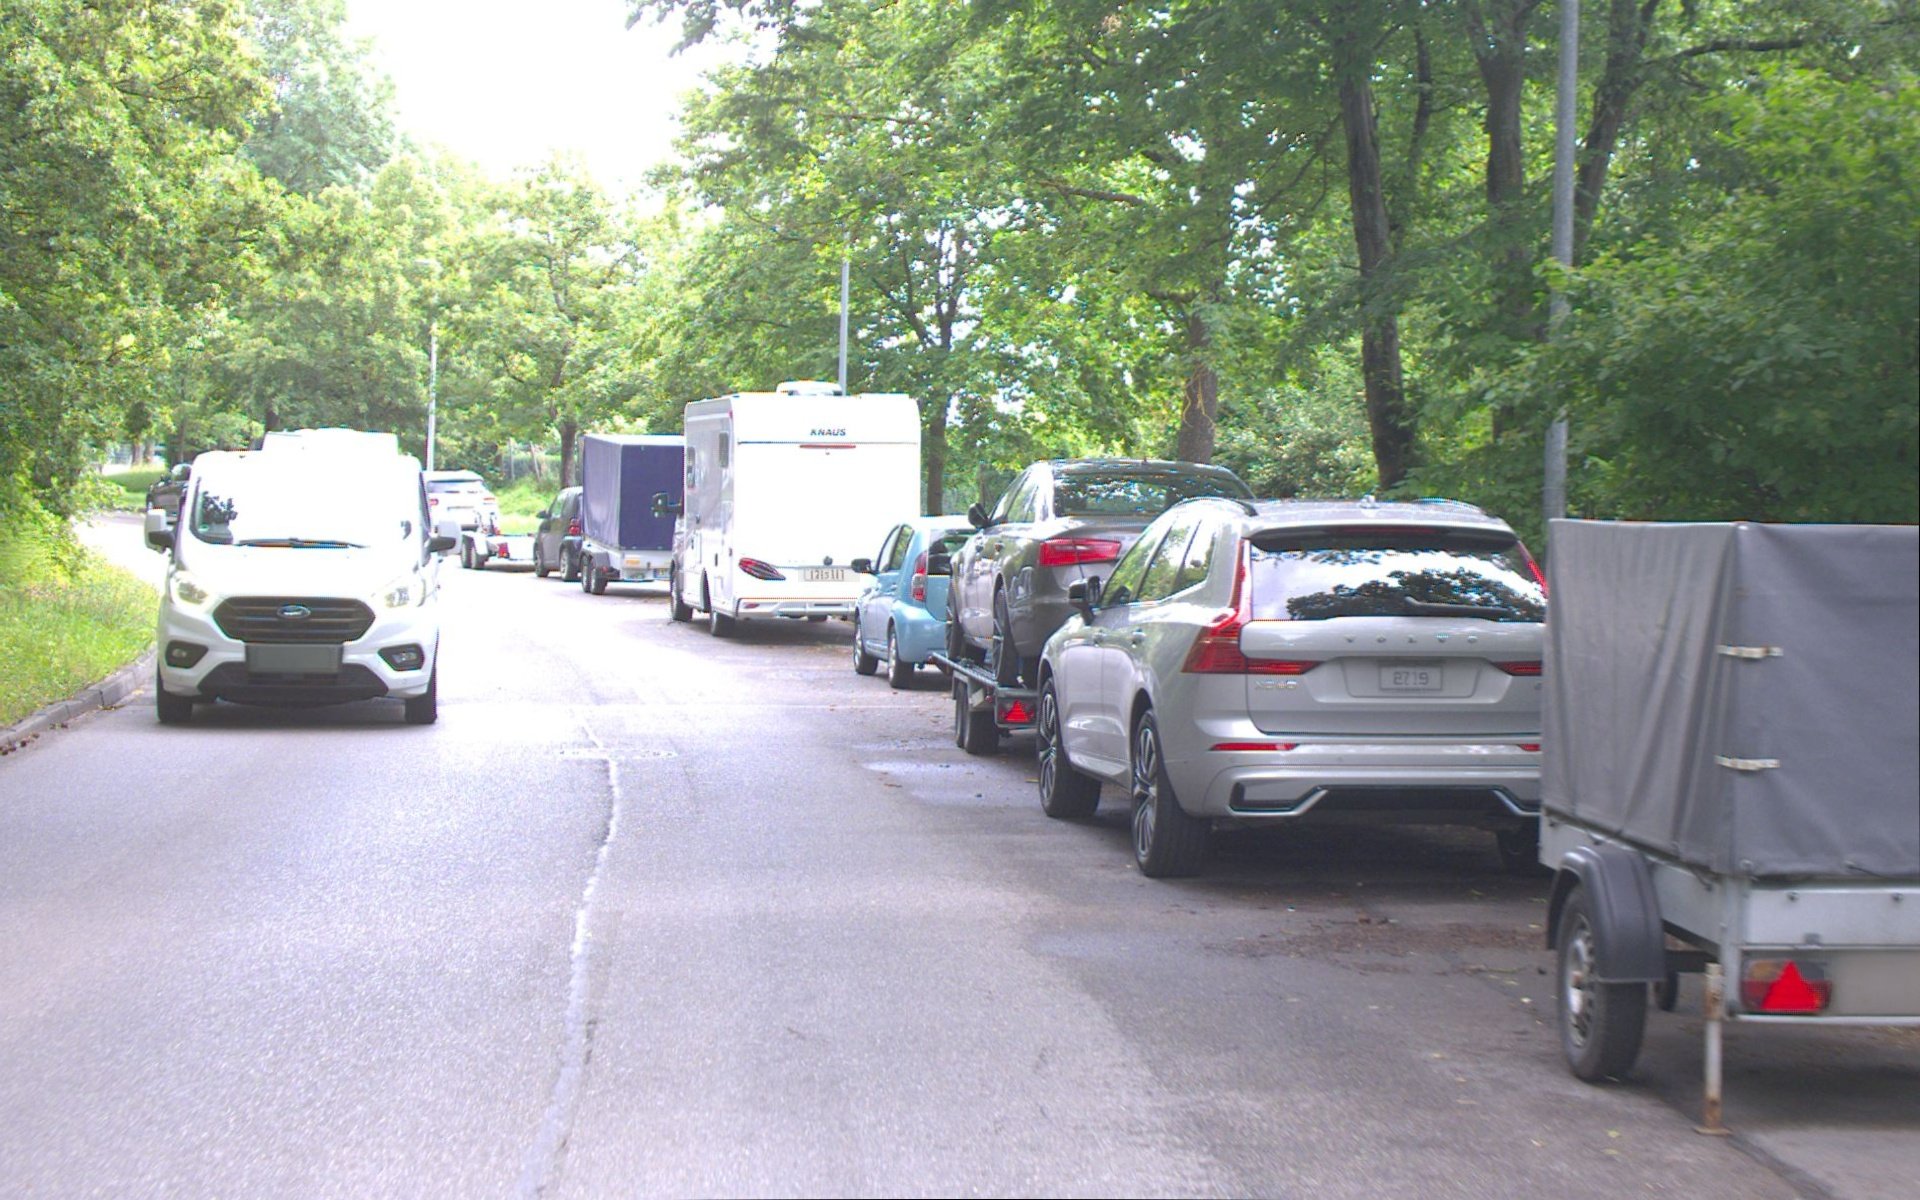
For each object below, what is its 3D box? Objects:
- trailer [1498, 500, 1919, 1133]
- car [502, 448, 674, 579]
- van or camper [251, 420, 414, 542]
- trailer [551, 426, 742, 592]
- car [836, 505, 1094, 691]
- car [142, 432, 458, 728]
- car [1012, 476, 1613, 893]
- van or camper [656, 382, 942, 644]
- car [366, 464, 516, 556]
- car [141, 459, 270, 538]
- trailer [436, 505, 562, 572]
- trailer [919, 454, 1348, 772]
[{"bbox_3d":[2.460,0.529,9.879,1.278,1.579,2.461,2,1,-3],"label":"trailer"},{"bbox_3d":[-6.295,-1.493,57.779,1.993,2.019,4.002,-2,4,-19],"label":"car"},{"bbox_3d":[-14.349,-2.739,78.402,2.526,2.688,4.576,-1,3,-26],"label":"van or camper"},{"bbox_3d":[-4.834,-1.391,52.464,1.993,2.390,4.001,1,1,-18],"label":"trailer"},{"bbox_3d":[-0.019,-0.068,31.666,1.799,1.556,3.836,1,2,-9],"label":"car"},{"bbox_3d":[-4.851,-0.193,25.830,1.947,1.977,4.503,2,1,-7],"label":"car"},{"bbox_3d":[1.473,0.345,16.172,1.791,1.664,4.503,1,0,-8],"label":"car"},{"bbox_3d":[-2.095,-1.057,41.946,2.481,2.866,6.892,1,1,-11],"label":"van or camper"},{"bbox_3d":[-10.675,-1.870,70.486,2.034,1.797,4.084,0,2,-24],"label":"car"},{"bbox_3d":[-19.220,-2.612,87.487,1.993,1.863,4.001,-2,4,-31],"label":"car"},{"bbox_3d":[-8.274,-1.124,61.487,1.651,1.083,4.002,-1,3,-16],"label":"trailer"},{"bbox_3d":[0.973,-0.012,22.336,1.978,1.805,5.150,1,2,-6],"label":"trailer"}]
